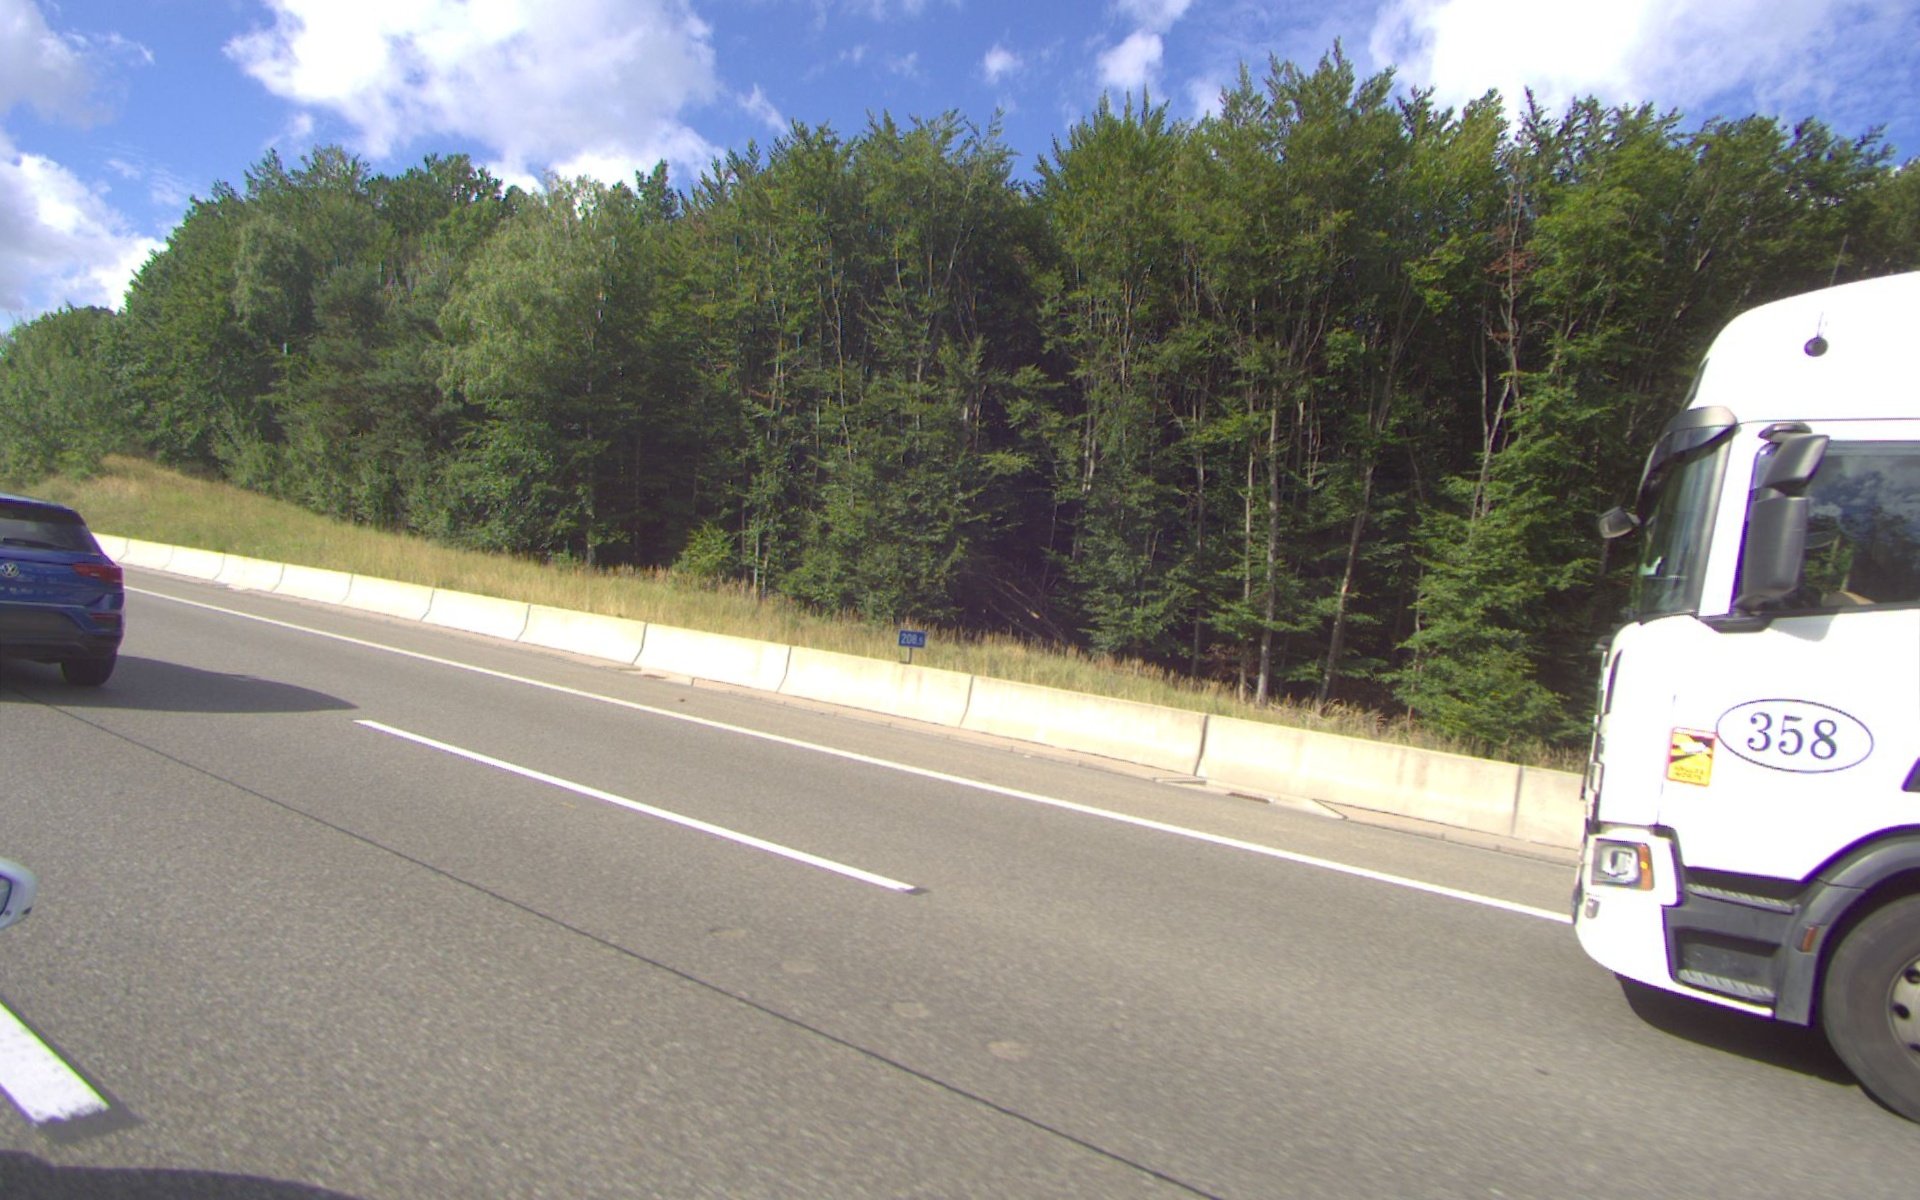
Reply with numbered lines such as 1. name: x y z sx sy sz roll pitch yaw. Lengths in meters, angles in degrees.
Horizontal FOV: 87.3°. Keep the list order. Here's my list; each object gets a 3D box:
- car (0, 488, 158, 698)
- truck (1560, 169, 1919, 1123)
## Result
1. car: -8.952 -0.261 8.683 4.385 1.548 1.775 7 -1 33
2. truck: 6.232 0.457 4.221 5.980 3.870 2.652 7 0 31
